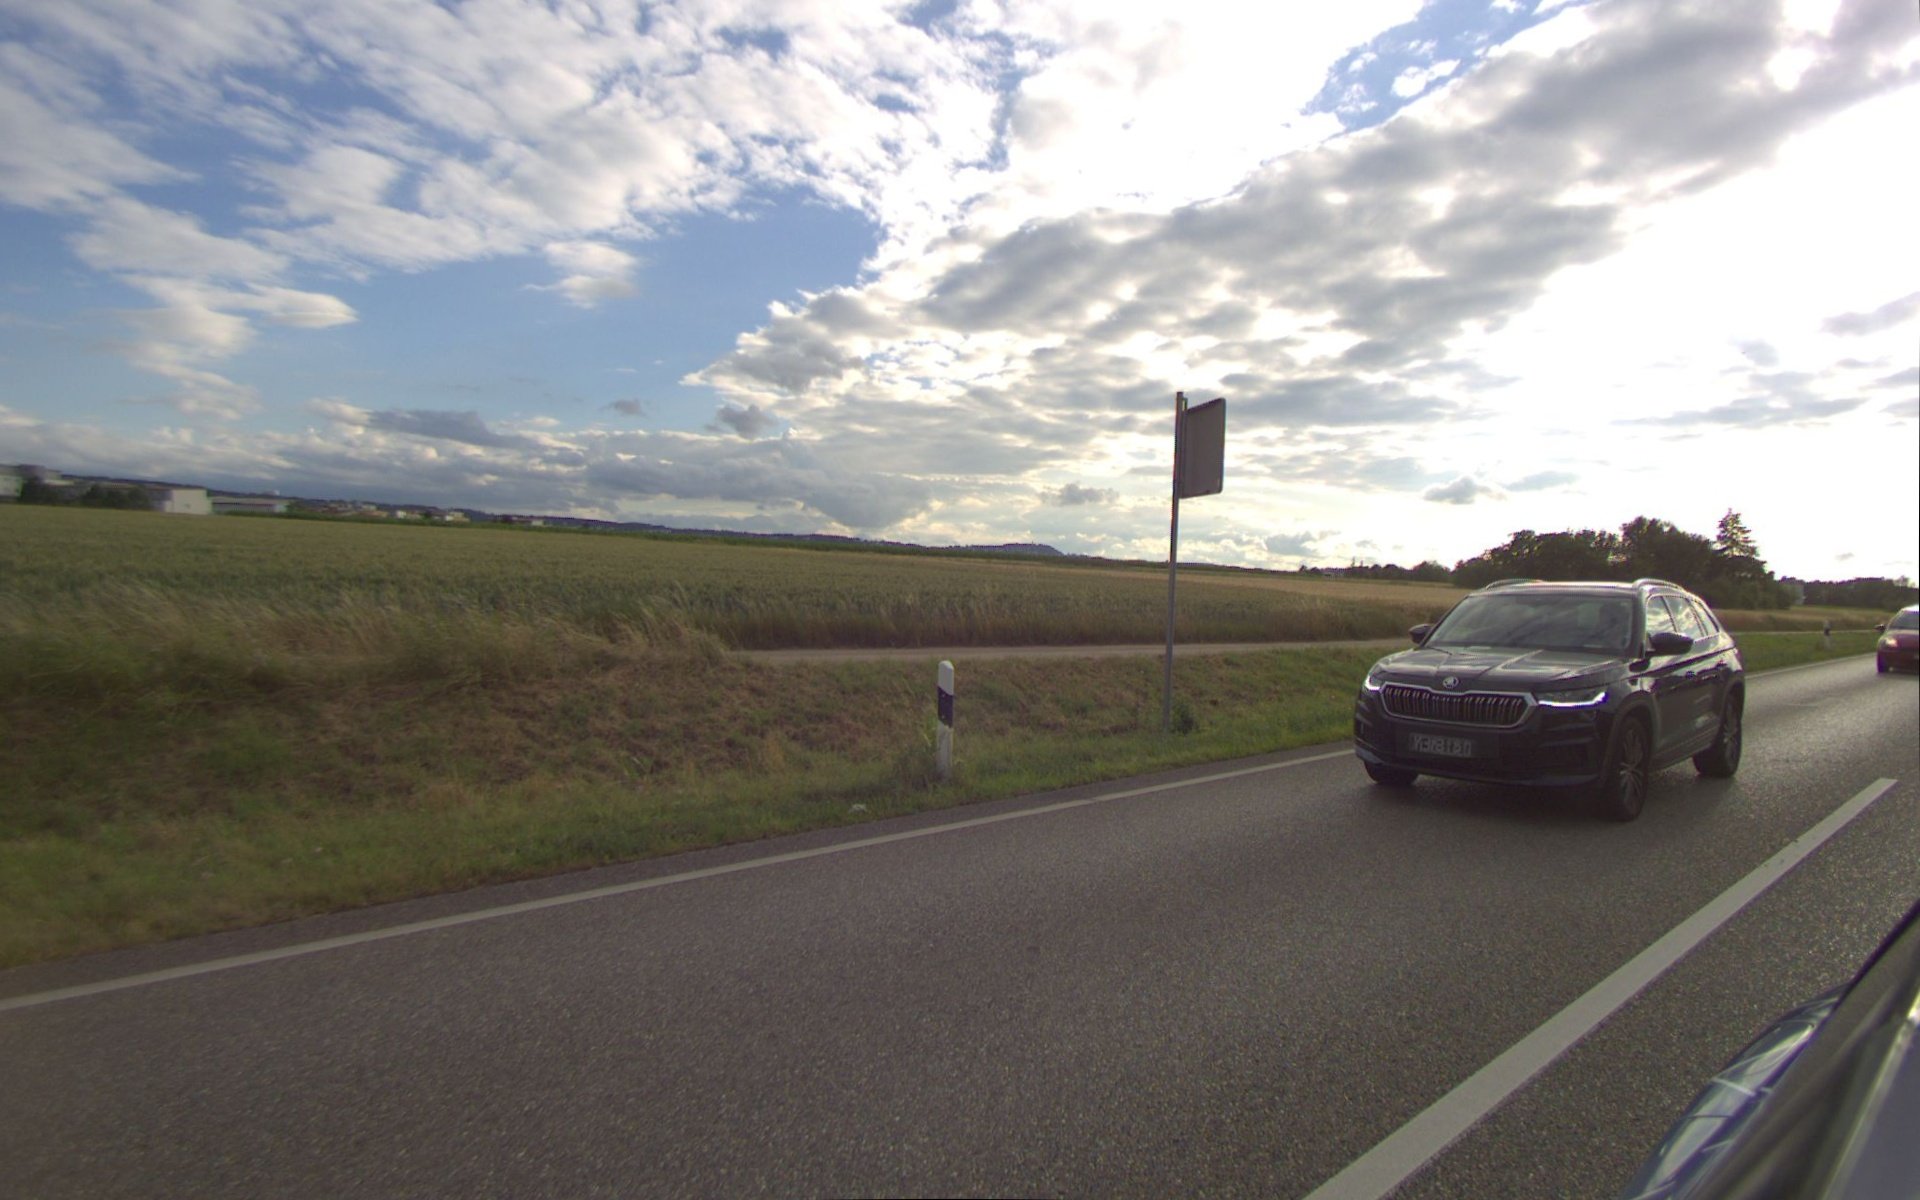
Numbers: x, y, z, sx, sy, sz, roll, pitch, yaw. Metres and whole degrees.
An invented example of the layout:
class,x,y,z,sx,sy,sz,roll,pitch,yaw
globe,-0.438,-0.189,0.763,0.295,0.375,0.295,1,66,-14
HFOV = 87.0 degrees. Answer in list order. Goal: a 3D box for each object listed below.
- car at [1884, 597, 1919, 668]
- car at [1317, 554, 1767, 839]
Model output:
class,x,y,z,sx,sy,sz,roll,pitch,yaw
car,22.181,0.699,22.689,3.840,1.475,1.710,-1,0,-41
car,4.952,0.561,8.318,4.477,1.730,1.840,-1,0,-41
